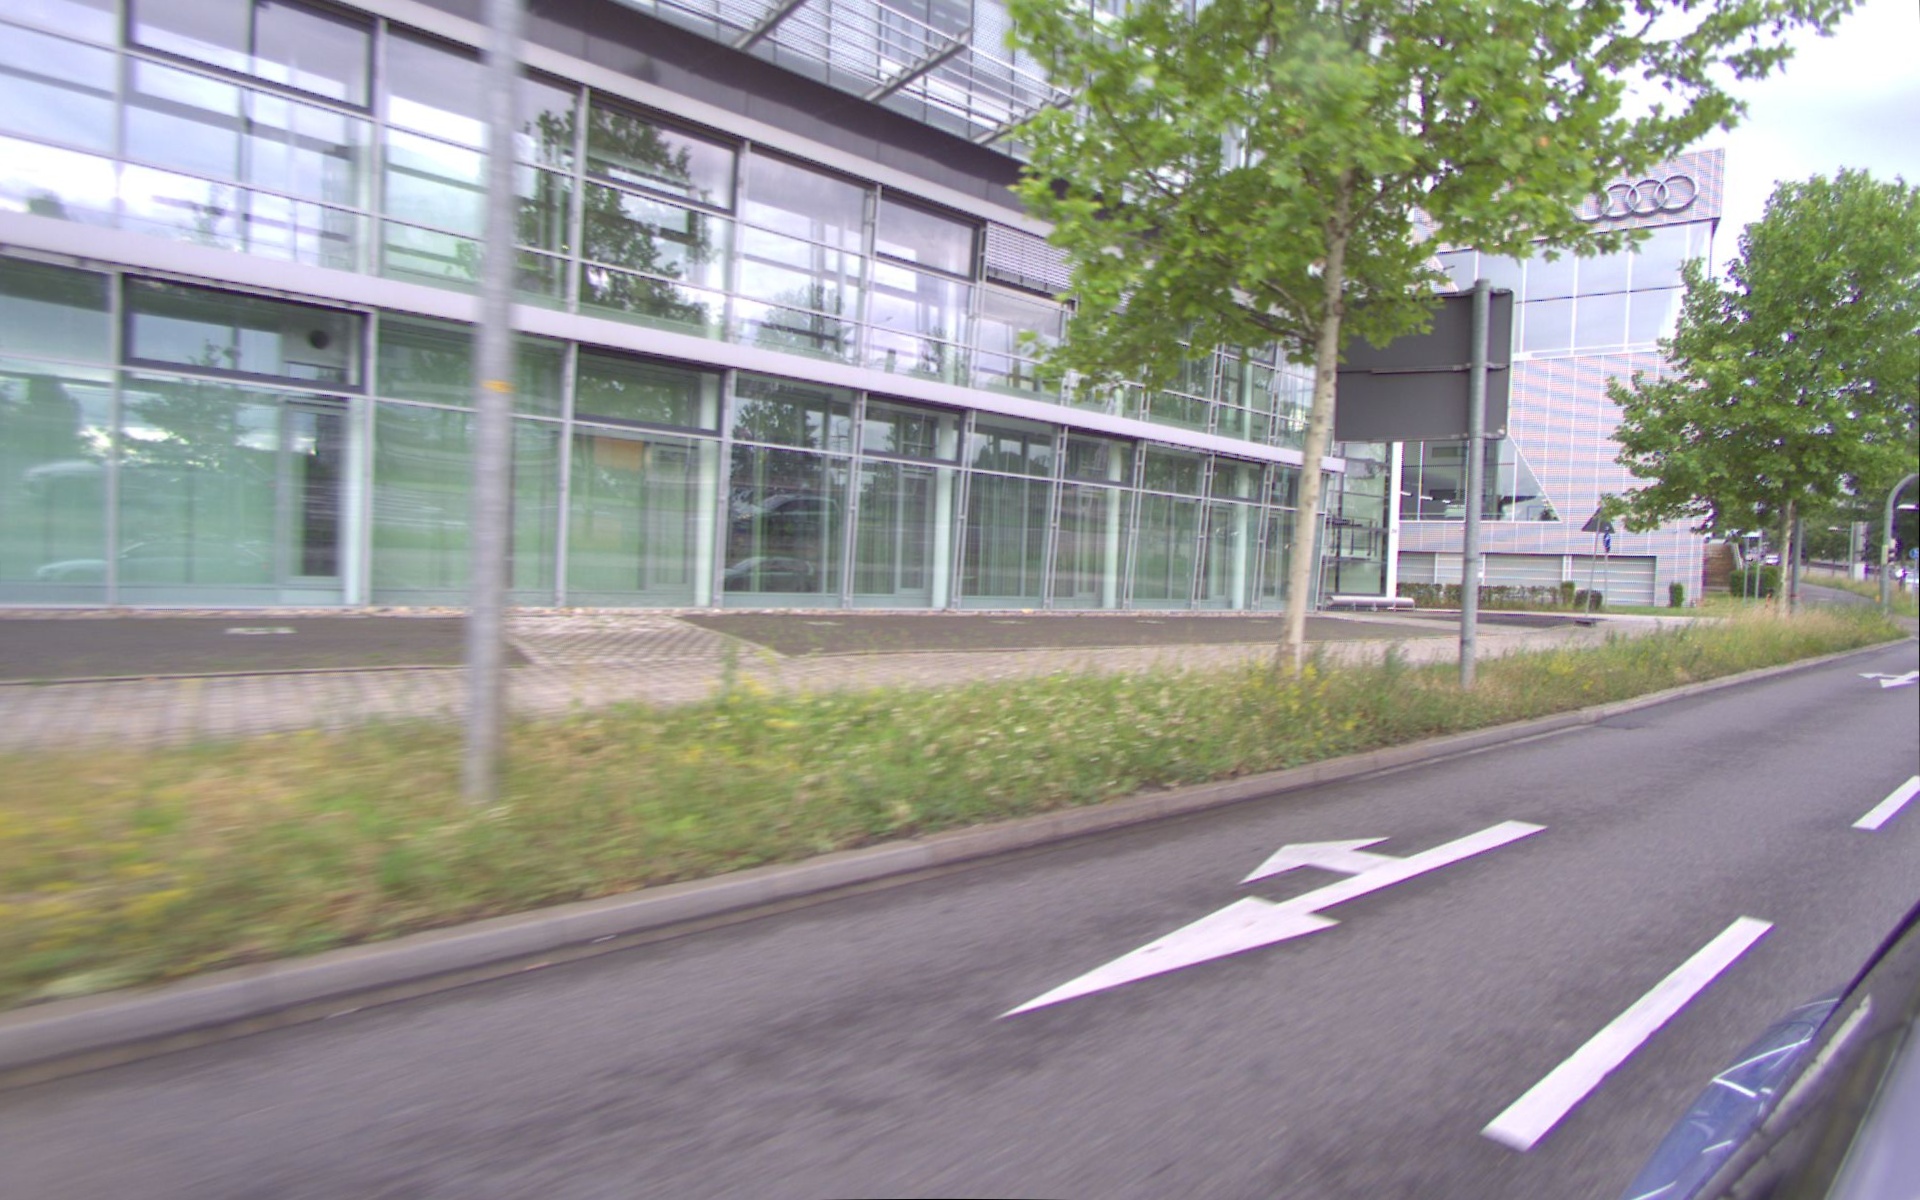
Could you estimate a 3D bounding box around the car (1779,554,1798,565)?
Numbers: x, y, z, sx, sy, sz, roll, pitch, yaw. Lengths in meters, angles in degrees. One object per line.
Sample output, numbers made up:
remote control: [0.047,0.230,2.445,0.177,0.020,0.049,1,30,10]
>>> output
car: [131.771,-6.409,160.939,1.816,1.732,4.107,1,1,32]
